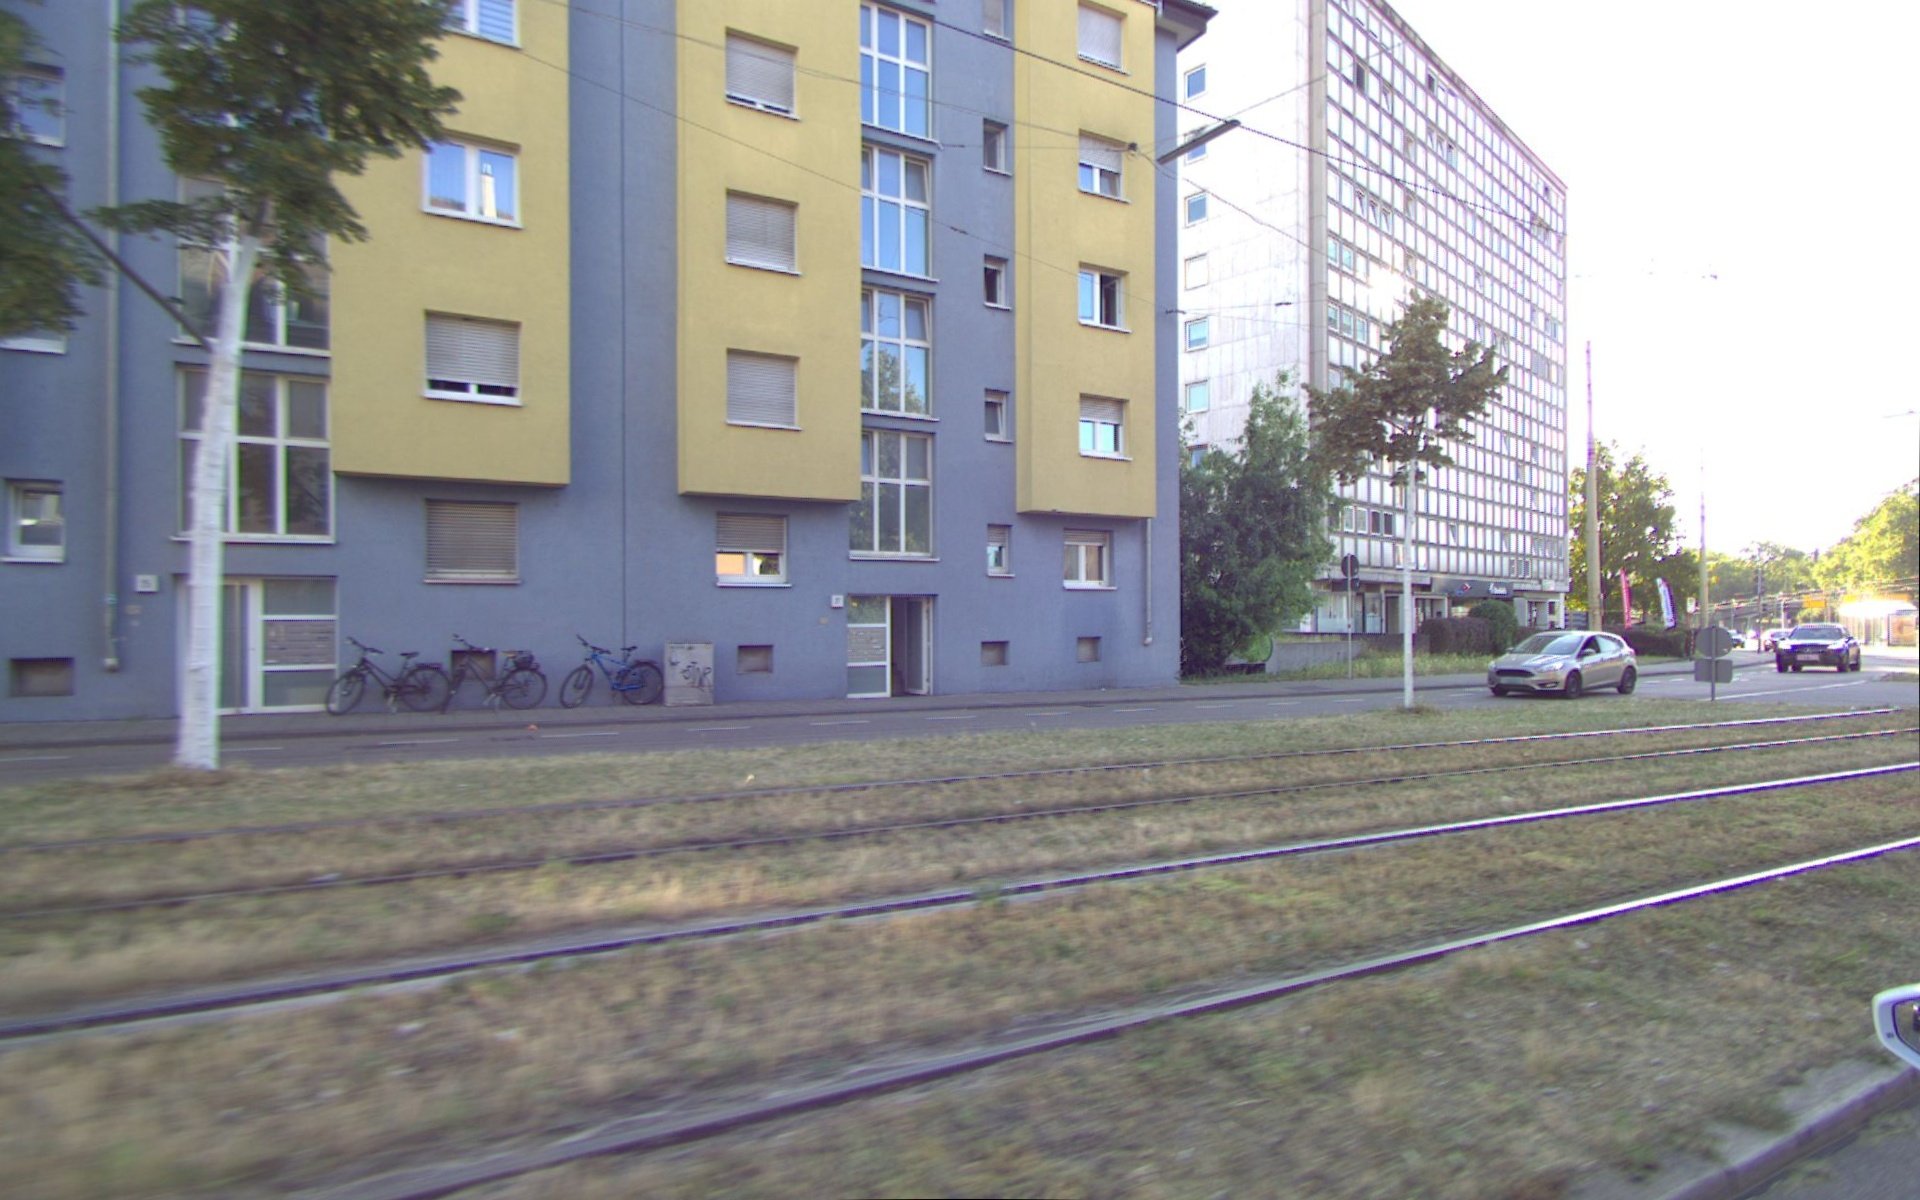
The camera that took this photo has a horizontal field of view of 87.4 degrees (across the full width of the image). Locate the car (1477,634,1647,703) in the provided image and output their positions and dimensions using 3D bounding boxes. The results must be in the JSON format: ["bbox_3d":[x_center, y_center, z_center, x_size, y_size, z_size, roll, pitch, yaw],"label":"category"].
[{"bbox_3d":[14.063,1.558,23.395,4.270,1.479,1.688,2,-4,-33],"label":"car"}]

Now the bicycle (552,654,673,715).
[{"bbox_3d":[-5.848,1.406,16.969,1.889,0.972,0.425,1,-2,-30],"label":"bicycle"}]

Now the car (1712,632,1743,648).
[{"bbox_3d":[65.021,3.367,85.102,1.522,1.357,3.588,-1,-2,28],"label":"car"}]

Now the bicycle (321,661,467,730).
[{"bbox_3d":[-8.552,1.426,15.239,1.889,0.937,0.425,1,2,-30],"label":"bicycle"}]

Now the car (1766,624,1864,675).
[{"bbox_3d":[30.471,1.724,35.757,4.671,1.684,1.902,1,-2,-41],"label":"car"}]

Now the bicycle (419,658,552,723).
[{"bbox_3d":[-7.539,1.425,16.003,1.889,0.937,0.425,1,2,-30],"label":"bicycle"}]
